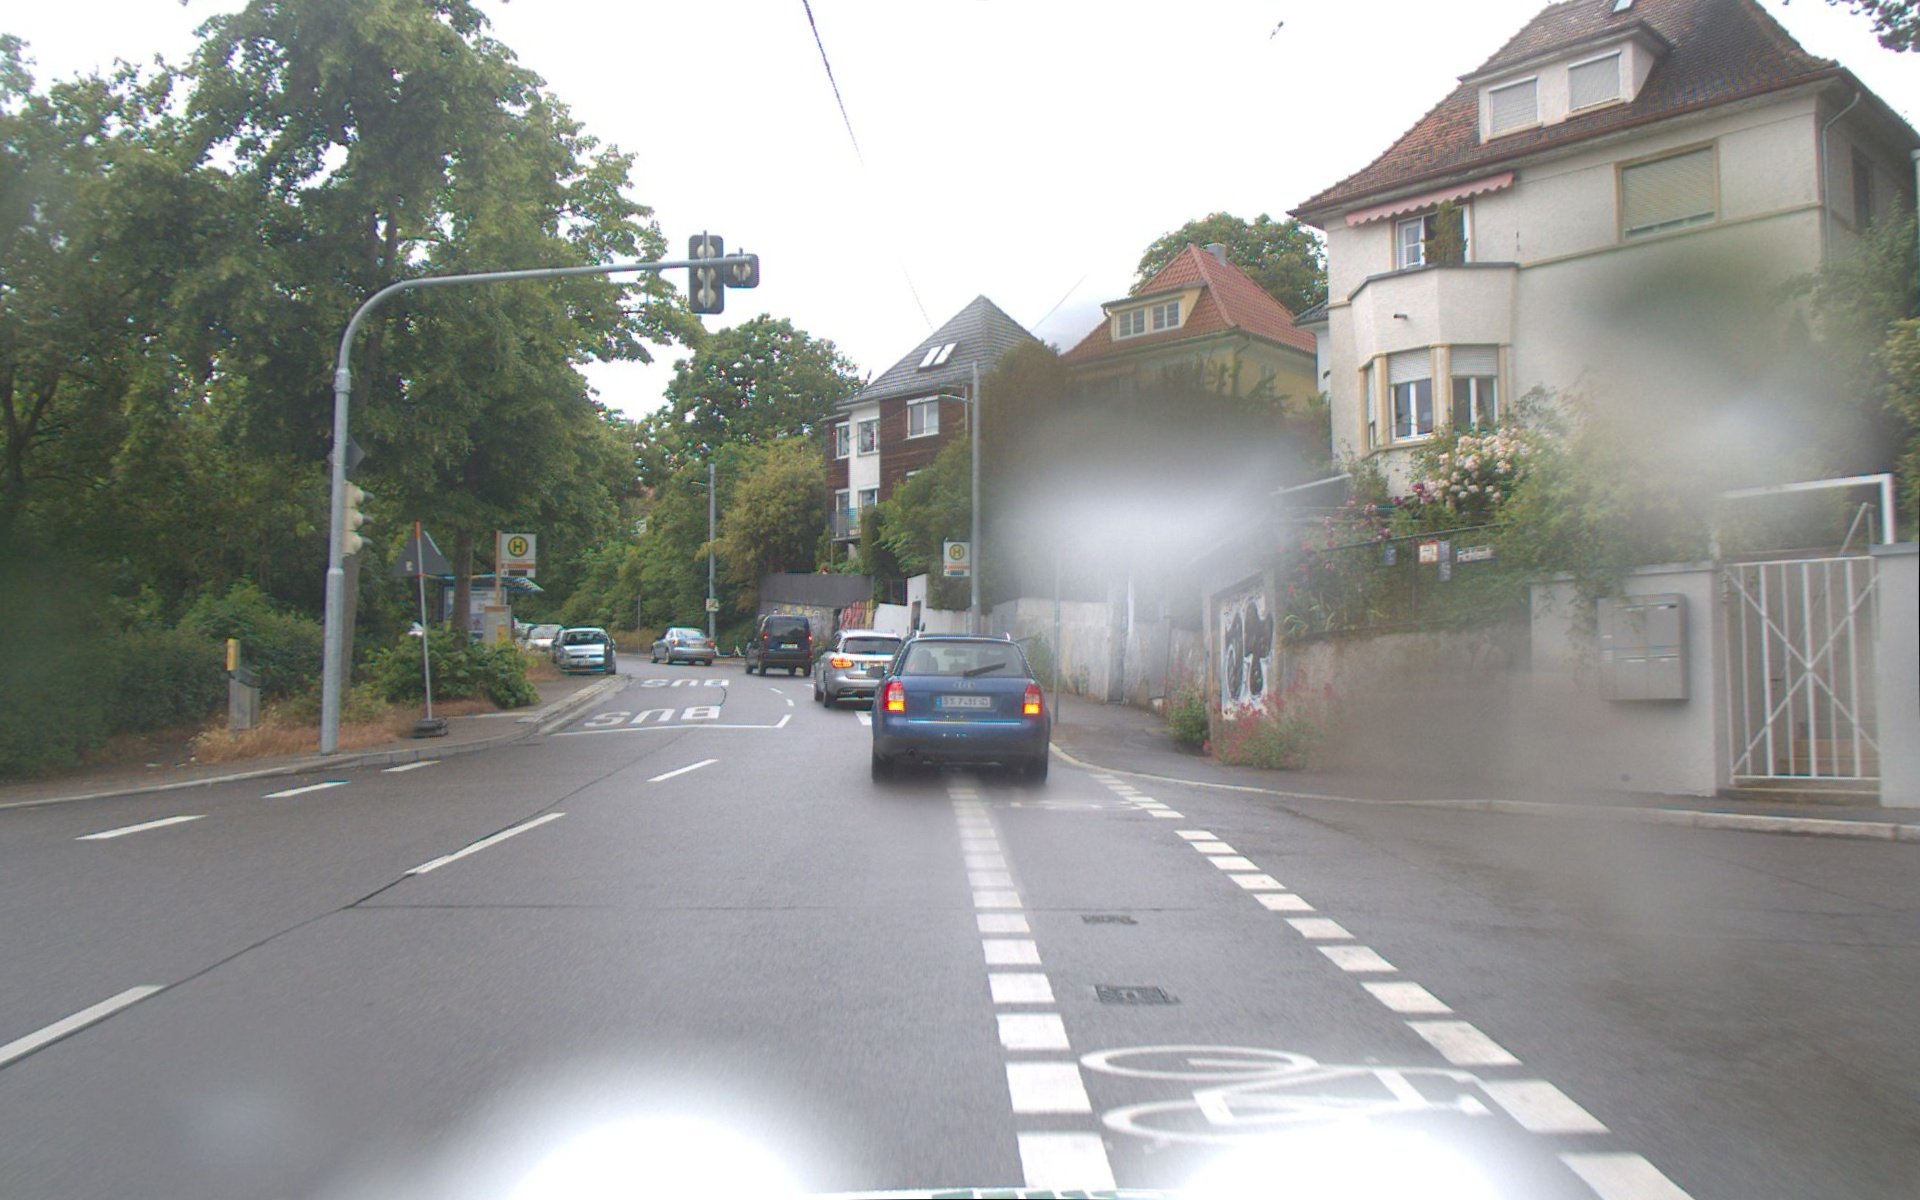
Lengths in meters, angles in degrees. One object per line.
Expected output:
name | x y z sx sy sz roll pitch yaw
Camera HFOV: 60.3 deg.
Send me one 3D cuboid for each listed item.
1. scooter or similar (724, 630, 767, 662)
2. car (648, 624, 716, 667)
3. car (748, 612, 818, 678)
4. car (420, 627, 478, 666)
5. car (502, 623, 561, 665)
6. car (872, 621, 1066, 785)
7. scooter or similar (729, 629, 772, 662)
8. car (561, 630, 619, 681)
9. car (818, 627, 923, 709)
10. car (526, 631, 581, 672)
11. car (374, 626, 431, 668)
scooter or similar | -9.985 2.154 76.988 1.803 1.338 0.598 5 -5 -14
car | -10.901 1.763 64.670 1.742 1.597 4.001 -1 -1 -23
car | -5.515 1.367 51.163 1.700 1.928 4.042 -1 -1 -12
car | -24.459 2.204 79.082 1.971 1.758 3.963 -1 -1 -28
car | -17.254 1.749 66.437 1.652 1.579 3.872 -1 -1 -24
car | 0.027 0.975 16.936 1.741 1.464 3.998 0 -1 -2
scooter or similar | -9.640 2.094 76.158 1.803 1.338 0.598 5 -5 -14
car | -11.405 1.676 50.860 1.645 1.452 3.985 -1 -1 -14
car | -1.809 1.334 32.659 1.871 1.413 4.345 3 -2 -4
car | -15.225 1.914 61.846 1.649 1.452 3.977 -1 -1 -19
car | -28.570 2.393 84.672 1.974 2.049 3.957 -1 -1 -31
